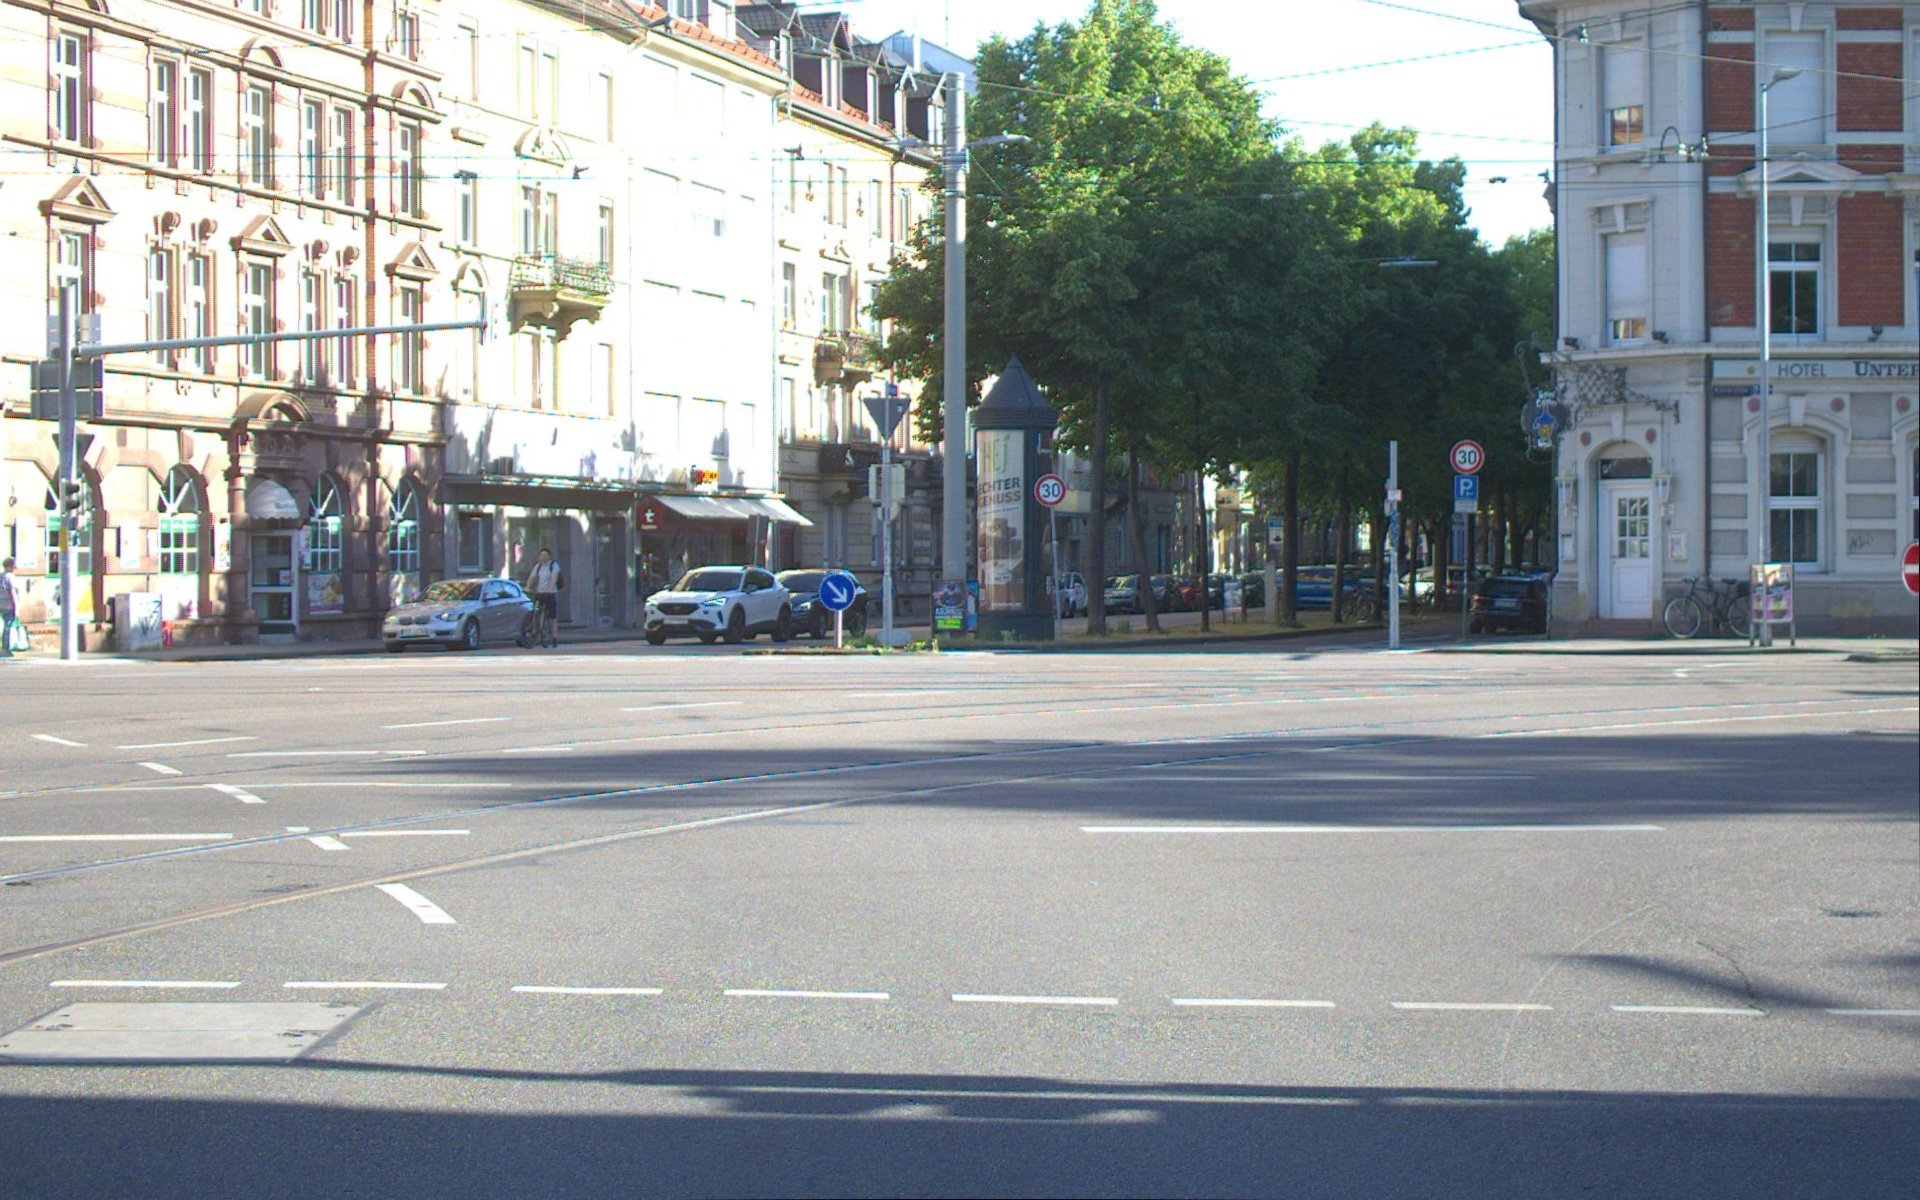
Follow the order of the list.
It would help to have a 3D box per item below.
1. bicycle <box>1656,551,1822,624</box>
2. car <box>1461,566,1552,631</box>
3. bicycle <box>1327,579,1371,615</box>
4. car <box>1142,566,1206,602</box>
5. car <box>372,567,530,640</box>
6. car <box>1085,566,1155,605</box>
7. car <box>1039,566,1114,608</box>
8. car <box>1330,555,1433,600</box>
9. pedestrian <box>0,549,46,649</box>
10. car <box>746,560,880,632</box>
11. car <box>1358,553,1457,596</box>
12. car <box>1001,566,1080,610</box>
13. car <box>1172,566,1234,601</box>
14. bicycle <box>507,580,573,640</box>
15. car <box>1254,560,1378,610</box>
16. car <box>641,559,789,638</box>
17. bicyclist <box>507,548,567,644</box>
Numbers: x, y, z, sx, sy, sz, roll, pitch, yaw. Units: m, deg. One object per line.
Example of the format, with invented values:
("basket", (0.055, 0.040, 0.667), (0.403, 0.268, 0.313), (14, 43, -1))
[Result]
("bicycle", (12.973, -0.203, 57.287), (2.554, 1.170, 0.819), (1, 0, -3))
("car", (13.152, -0.054, 82.585), (1.678, 1.478, 3.945), (0, 1, 16))
("bicycle", (11.263, -0.102, 99.495), (0.636, 1.018, 1.847), (1, 1, -14))
("car", (8.141, -0.614, 130.758), (1.678, 1.349, 3.588), (0, 1, 17))
("car", (-9.869, 0.057, 66.920), (1.678, 1.349, 3.588), (0, 1, 17))
("car", (5.705, -0.524, 122.452), (1.678, 1.349, 3.588), (0, 1, 17))
("car", (3.934, -0.443, 115.490), (1.678, 1.349, 3.588), (0, 1, 17))
("car", (15.714, -0.845, 128.045), (3.582, 1.642, 1.681), (0, 1, 17))
("pedestrian", (-15.982, -0.018, 57.974), (0.776, 1.664, 0.830), (1, 0, 15))
("car", (-3.117, -0.100, 73.626), (1.678, 1.478, 3.945), (0, 1, 16))
("car", (17.388, -0.999, 133.518), (3.582, 1.642, 1.681), (0, 1, 17))
("car", (2.637, -0.400, 111.334), (1.678, 1.349, 3.588), (0, 1, 17))
("car", (9.612, -0.653, 135.789), (1.678, 1.349, 3.588), (0, 1, 17))
("bicycle", (-7.976, 0.186, 65.275), (0.702, 1.114, 1.634), (1, 1, 13))
("car", (11.993, -0.508, 115.689), (3.905, 1.642, 1.681), (0, 1, 17))
("car", (-4.758, -0.050, 67.324), (1.678, 1.478, 3.768), (0, 1, 16))
("bicyclist", (-8.011, -0.087, 65.149), (0.779, 1.797, 1.055), (1, 0, 14))
